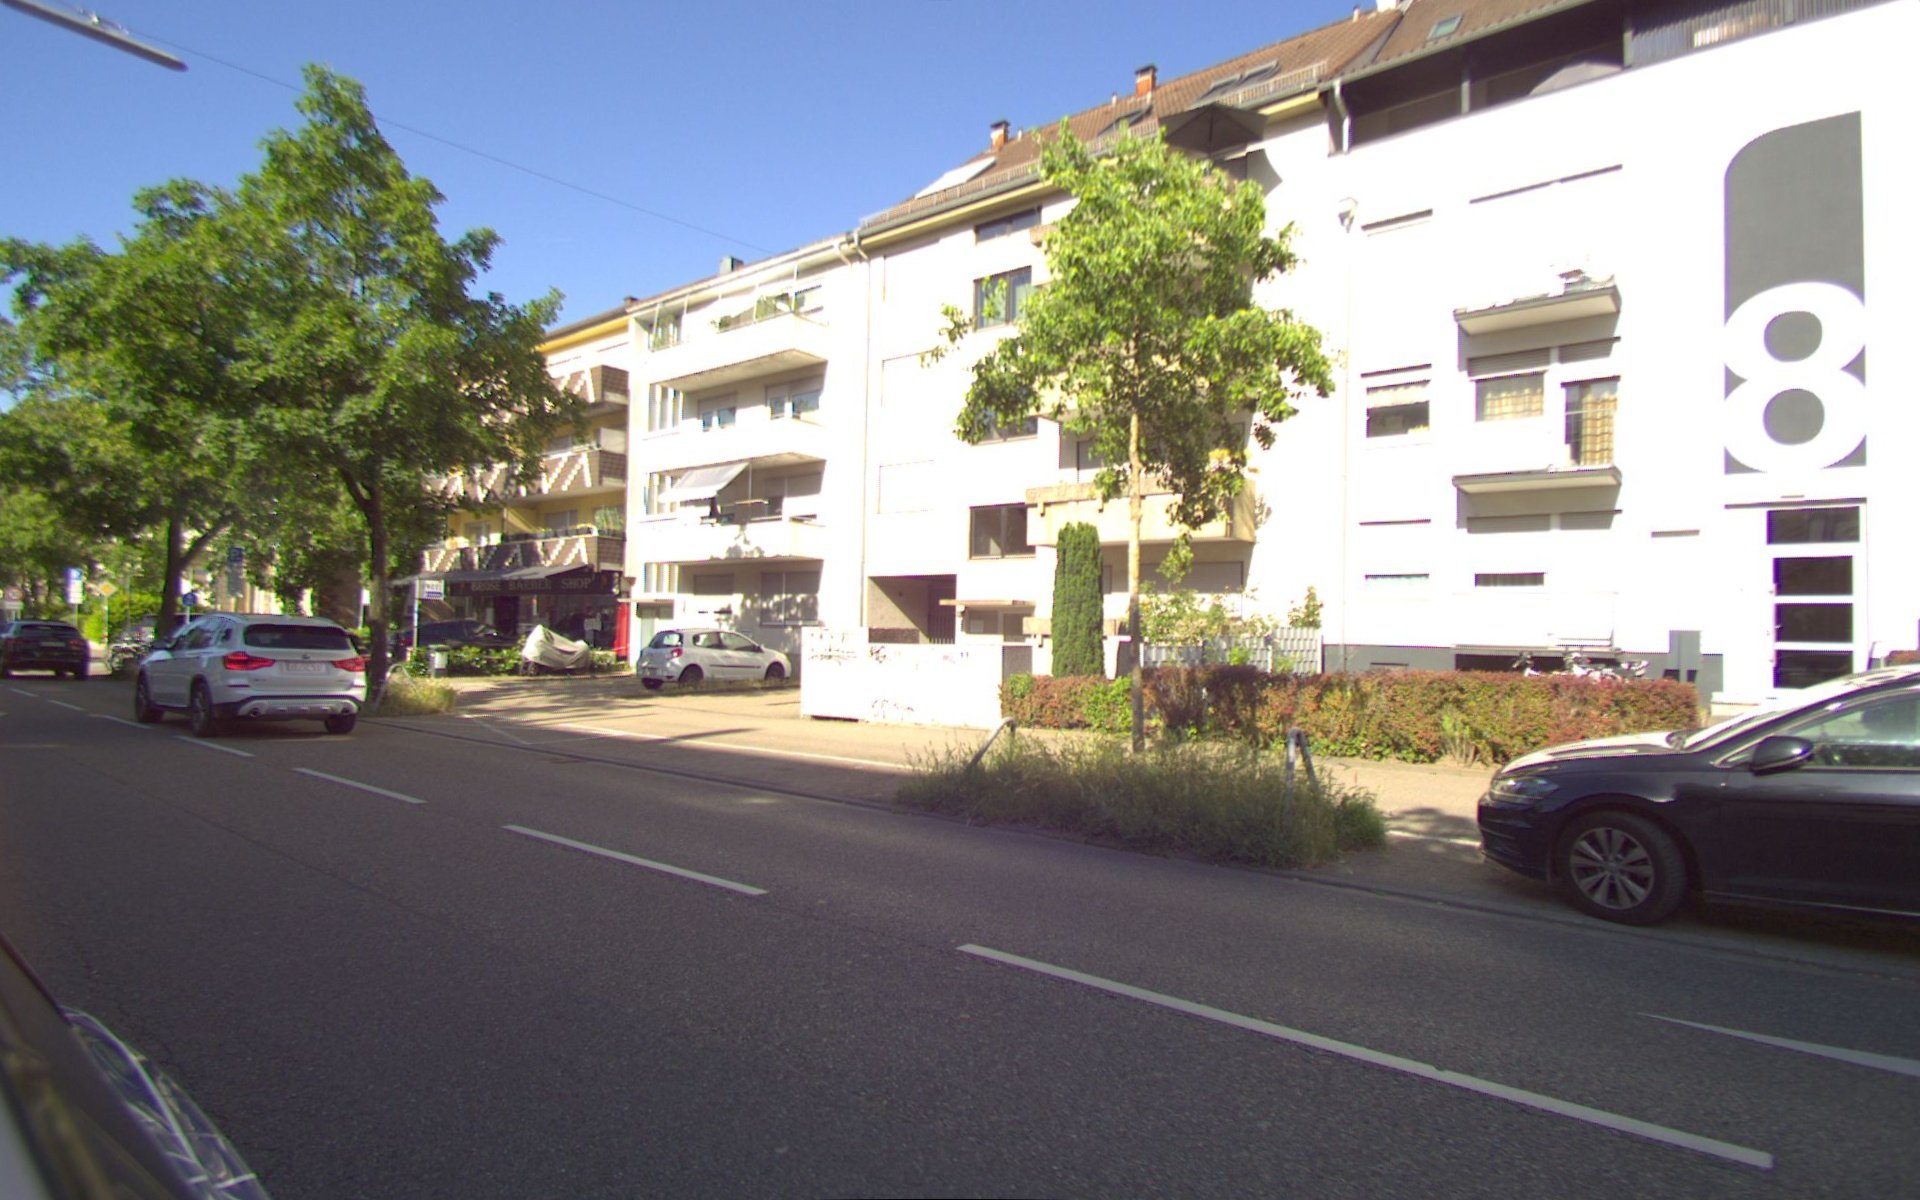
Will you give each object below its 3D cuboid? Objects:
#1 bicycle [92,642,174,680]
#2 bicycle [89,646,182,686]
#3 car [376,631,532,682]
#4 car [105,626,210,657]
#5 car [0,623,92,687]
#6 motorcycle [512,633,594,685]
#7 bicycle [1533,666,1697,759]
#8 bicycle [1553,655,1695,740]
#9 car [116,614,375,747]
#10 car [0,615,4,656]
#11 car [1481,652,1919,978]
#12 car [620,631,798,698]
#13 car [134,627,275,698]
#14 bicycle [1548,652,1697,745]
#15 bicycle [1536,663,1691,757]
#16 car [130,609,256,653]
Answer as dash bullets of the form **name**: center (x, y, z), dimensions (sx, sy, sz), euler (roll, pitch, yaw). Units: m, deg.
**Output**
- **bicycle**: center (-25.667, 1.896, 31.443), dimensions (1.903, 1.144, 0.464), euler (1, -2, -23)
- **bicycle**: center (-23.618, 1.882, 29.022), dimensions (1.994, 1.100, 0.464), euler (1, -2, -28)
- **car**: center (-15.328, 1.670, 30.759), dimensions (3.938, 1.472, 1.735), euler (2, -3, -42)
- **car**: center (-40.022, 2.072, 50.523), dimensions (1.631, 1.500, 3.868), euler (-2, -3, 40)
- **car**: center (-25.120, 1.460, 27.338), dimensions (4.338, 1.578, 1.702), euler (-1, -6, 39)
- **motorcycle**: center (-12.152, 1.744, 30.255), dimensions (2.124, 1.497, 0.782), euler (2, -3, -42)
- **bicycle**: center (7.559, 1.271, 11.732), dimensions (1.547, 0.990, 0.395), euler (-2, -4, 40)
- **bicycle**: center (8.933, 1.285, 13.657), dimensions (1.547, 1.071, 0.443), euler (-2, -4, 40)
- **car**: center (-10.525, 1.113, 14.780), dimensions (4.667, 1.660, 1.788), euler (-1, -5, 39)
- **car**: center (-35.591, 1.438, 35.885), dimensions (4.707, 1.925, 1.785), euler (-1, -6, 40)
- **car**: center (5.353, 1.041, 5.215), dimensions (4.487, 1.505, 1.768), euler (-2, -3, 39)
- **car**: center (-6.096, 1.525, 24.948), dimensions (1.879, 1.498, 3.948), euler (-2, -3, 39)
- **car**: center (-18.680, 1.472, 24.969), dimensions (4.129, 1.608, 1.706), euler (-1, -2, 37)
- **bicycle**: center (8.512, 1.235, 13.036), dimensions (1.547, 1.120, 0.444), euler (-2, -4, 40)
- **bicycle**: center (7.993, 1.320, 12.430), dimensions (1.547, 1.061, 0.416), euler (-2, -4, 40)
- **car**: center (-34.778, 1.411, 46.042), dimensions (1.863, 1.893, 4.306), euler (-1, -2, 16)
